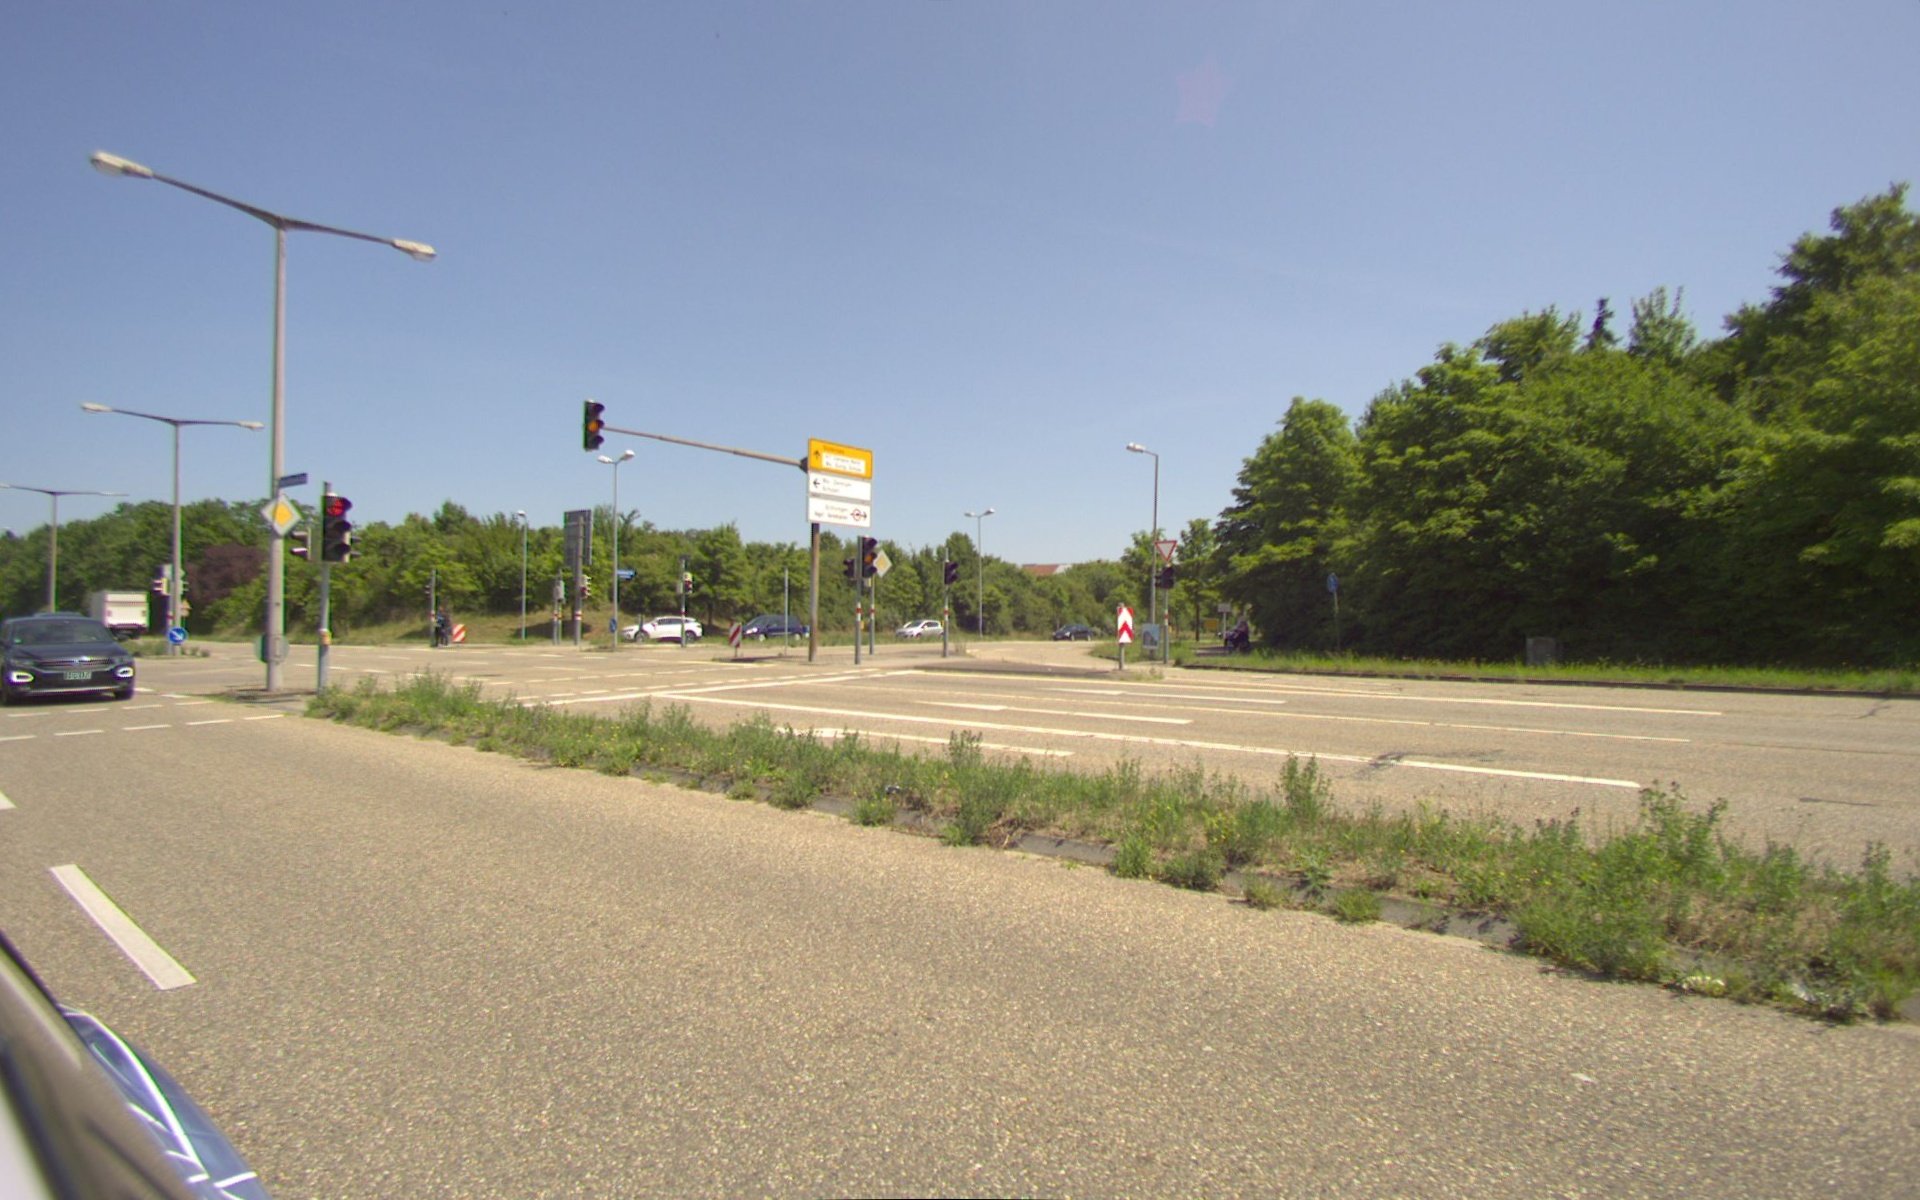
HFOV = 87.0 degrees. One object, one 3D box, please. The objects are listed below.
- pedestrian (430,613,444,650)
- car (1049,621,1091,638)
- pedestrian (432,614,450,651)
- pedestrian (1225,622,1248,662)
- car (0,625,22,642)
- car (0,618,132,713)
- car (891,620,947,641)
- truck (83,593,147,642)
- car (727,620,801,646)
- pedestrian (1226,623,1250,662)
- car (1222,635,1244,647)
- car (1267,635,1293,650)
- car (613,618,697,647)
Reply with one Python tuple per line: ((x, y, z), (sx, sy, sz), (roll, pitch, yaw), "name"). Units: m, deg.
((-24.500, 1.475, 47.411), (0.573, 1.749, 0.795), (0, -2, -29), "pedestrian")
((8.945, 2.400, 82.291), (1.630, 1.371, 3.950), (-1, -2, 37), "car")
((-23.910, 1.486, 46.646), (0.712, 1.712, 0.777), (0, -2, -30), "pedestrian")
((11.074, 1.677, 40.563), (0.789, 1.615, 0.616), (0, -2, 6), "pedestrian")
((-91.479, 3.204, 97.192), (4.222, 1.676, 1.688), (-2, -2, 42), "car")
((-16.696, 1.119, 18.602), (3.969, 1.523, 1.716), (-1, 0, 42), "car")
((-2.706, 2.021, 67.410), (1.630, 1.371, 3.951), (-1, -2, 36), "car")
((-64.571, 1.381, 77.276), (7.264, 3.598, 2.659), (-2, -2, 42), "truck")
((-10.816, 1.818, 56.080), (1.700, 1.346, 3.949), (-1, -2, 37), "car")
((10.884, 1.667, 39.682), (0.789, 1.515, 0.616), (0, -2, 6), "pedestrian")
((30.995, 4.625, 114.756), (1.290, 1.133, 3.170), (-1, 0, 37), "car")
((31.657, 4.220, 100.145), (1.734, 1.431, 3.960), (-1, -2, 29), "car")
((-17.350, 1.894, 57.681), (4.237, 1.513, 1.884), (2, -5, -34), "car")
